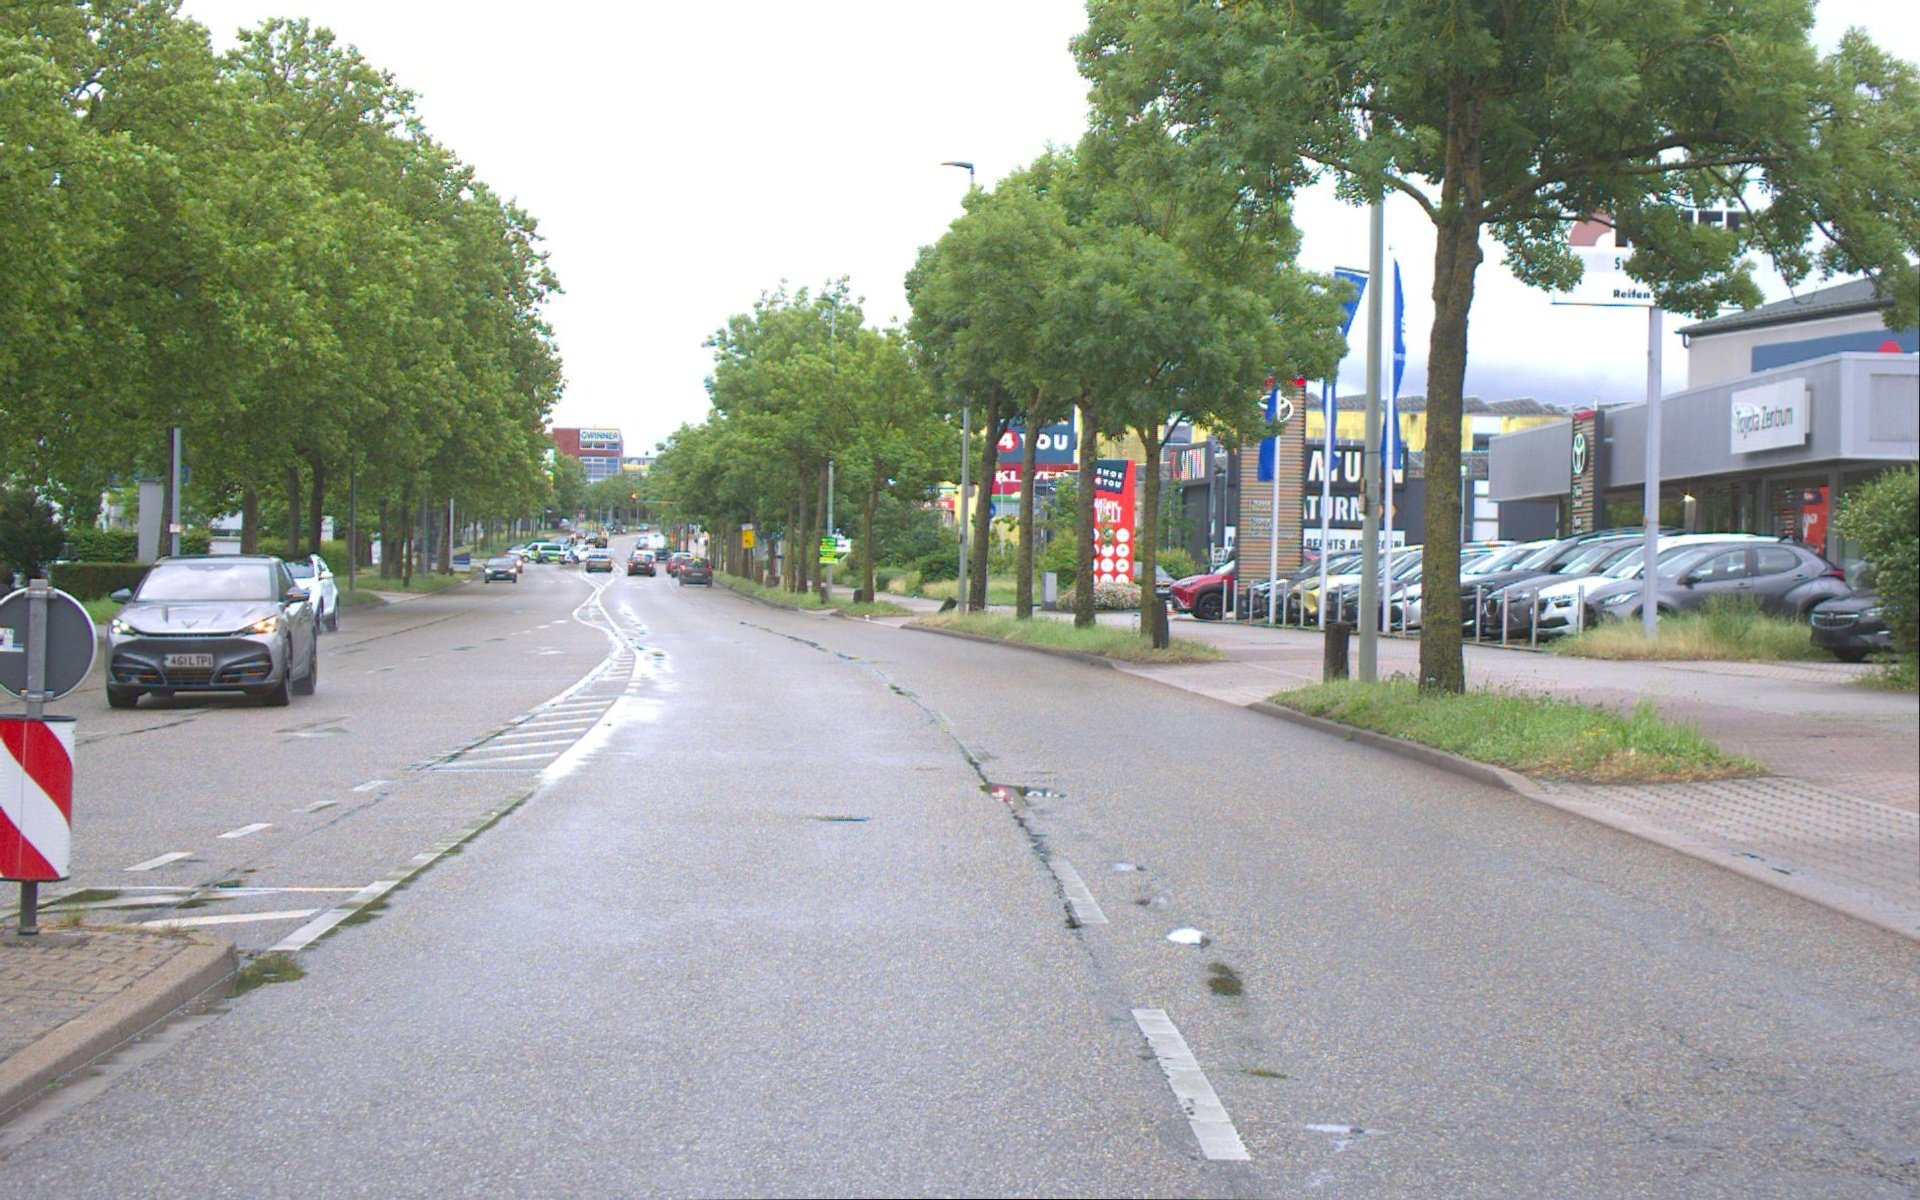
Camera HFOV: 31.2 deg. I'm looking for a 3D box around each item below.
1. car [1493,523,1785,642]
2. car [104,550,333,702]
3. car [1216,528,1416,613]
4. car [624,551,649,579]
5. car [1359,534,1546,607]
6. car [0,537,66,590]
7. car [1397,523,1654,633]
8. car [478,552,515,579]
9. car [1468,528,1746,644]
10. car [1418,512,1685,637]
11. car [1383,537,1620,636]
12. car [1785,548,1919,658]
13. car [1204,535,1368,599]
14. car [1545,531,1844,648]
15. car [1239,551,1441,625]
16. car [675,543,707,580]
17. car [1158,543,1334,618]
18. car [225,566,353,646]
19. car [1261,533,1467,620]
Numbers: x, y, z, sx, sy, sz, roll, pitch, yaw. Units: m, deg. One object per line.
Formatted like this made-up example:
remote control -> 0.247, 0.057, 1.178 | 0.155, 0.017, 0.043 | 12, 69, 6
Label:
car -> 10.388, -0.270, 52.756 | 3.986, 1.538, 1.812 | -4, 1, -3
car -> -8.016, 0.259, 37.529 | 1.811, 1.556, 4.599 | 0, 0, -4
car -> 7.695, -0.645, 74.565 | 3.986, 1.641, 1.845 | -2, 1, -5
car -> -23.255, -2.533, 247.132 | 1.745, 2.007, 4.001 | 0, 1, -4
car -> 11.639, -0.705, 81.414 | 4.109, 1.616, 1.881 | -1, 1, -1
car -> -26.633, -1.036, 97.757 | 1.823, 1.481, 3.940 | 0, 1, -7
car -> 9.858, -0.406, 60.050 | 3.986, 1.582, 1.812 | -4, 2, -6
car -> -25.278, -1.884, 187.674 | 1.803, 1.458, 3.846 | -1, 1, -5
car -> 10.352, -0.232, 55.181 | 3.986, 1.579, 1.812 | -4, 1, -3
car -> 9.810, -0.428, 57.195 | 3.986, 1.780, 1.812 | -4, 1, -3
car -> 9.873, -0.265, 62.834 | 3.986, 1.780, 1.812 | 0, 1, -3
car -> 13.286, 0.028, 46.709 | 3.678, 1.459, 1.794 | 0, 1, -3
car -> 10.423, -1.044, 110.087 | 4.820, 2.007, 1.991 | 0, 0, -15
car -> 10.725, -0.167, 50.329 | 3.832, 1.456, 1.828 | -3, 1, -5
car -> 8.037, -0.258, 72.908 | 3.986, 1.533, 1.800 | 0, 1, -5
car -> -14.871, -2.121, 190.129 | 1.744, 2.007, 4.001 | 0, 1, -4
car -> 6.725, -0.468, 81.110 | 3.840, 1.598, 1.796 | -2, 1, -5
car -> -13.918, 0.118, 71.480 | 1.928, 1.614, 4.399 | 0, 0, -2
car -> 8.310, -0.493, 70.889 | 3.838, 1.560, 1.667 | -3, 1, -7
